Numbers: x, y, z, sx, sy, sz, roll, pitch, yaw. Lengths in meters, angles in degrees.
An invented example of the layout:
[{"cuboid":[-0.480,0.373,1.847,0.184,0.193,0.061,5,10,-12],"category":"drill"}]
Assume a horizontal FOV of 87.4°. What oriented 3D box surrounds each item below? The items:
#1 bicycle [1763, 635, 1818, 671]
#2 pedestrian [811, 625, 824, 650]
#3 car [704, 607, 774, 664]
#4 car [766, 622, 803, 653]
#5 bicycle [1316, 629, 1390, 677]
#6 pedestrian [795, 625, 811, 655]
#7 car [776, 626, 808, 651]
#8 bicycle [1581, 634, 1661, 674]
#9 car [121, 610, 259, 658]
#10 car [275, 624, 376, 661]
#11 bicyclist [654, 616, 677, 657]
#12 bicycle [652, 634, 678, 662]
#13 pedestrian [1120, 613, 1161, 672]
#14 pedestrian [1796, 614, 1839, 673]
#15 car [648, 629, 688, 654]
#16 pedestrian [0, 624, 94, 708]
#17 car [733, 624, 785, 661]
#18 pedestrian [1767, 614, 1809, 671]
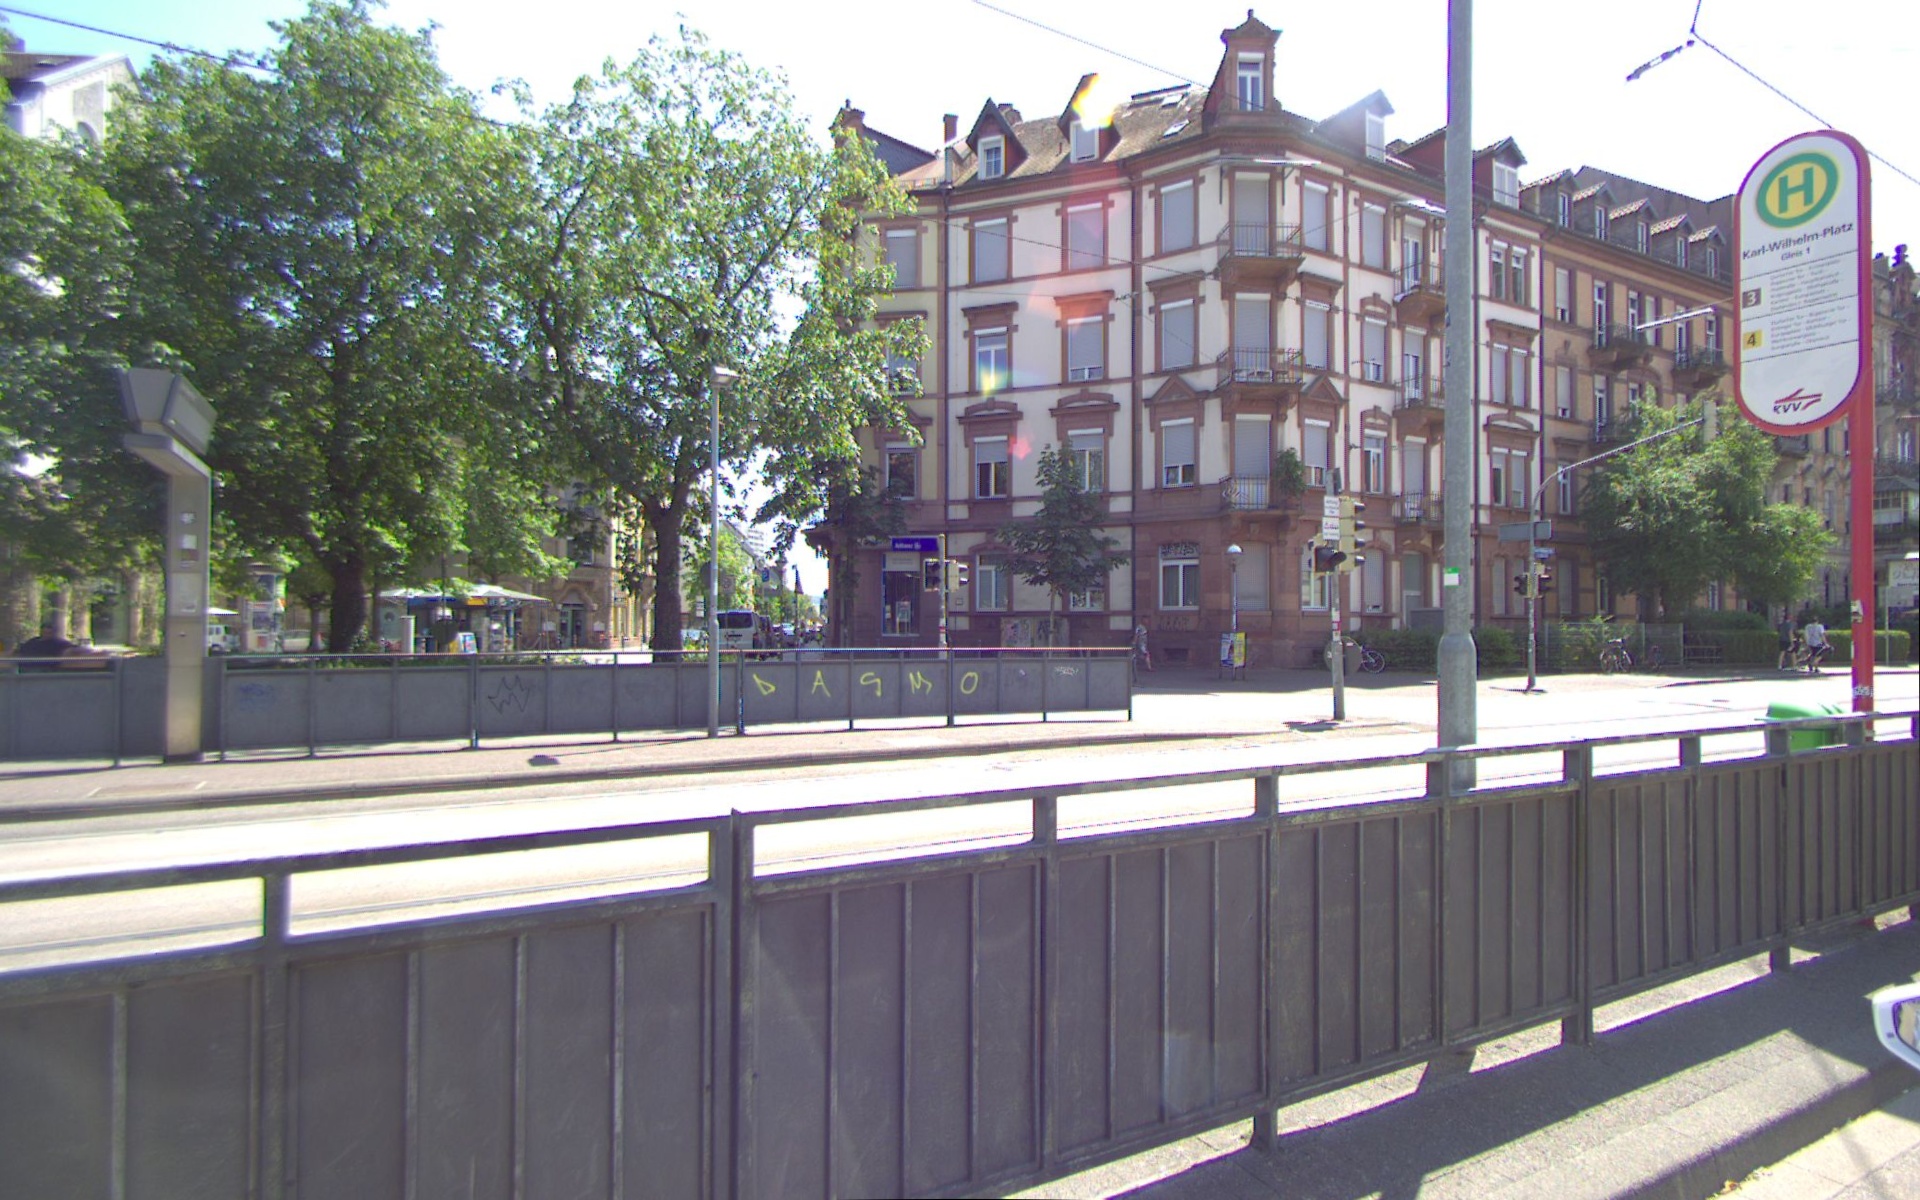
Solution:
[{"cuboid":[28.527,1.806,34.486,2.750,1.151,0.930,2,0,-39],"category":"bicycle"},{"cuboid":[-9.328,2.426,65.735,0.742,1.632,0.688,0,-1,-4],"category":"pedestrian"},{"cuboid":[-8.326,1.301,38.220,1.962,1.970,3.998,2,0,-4],"category":"car"},{"cuboid":[-10.369,2.179,59.457,1.684,1.617,3.998,2,0,-4],"category":"car"},{"cuboid":[11.667,1.560,29.865,1.923,1.312,0.564,2,0,11],"category":"bicycle"},{"cuboid":[-8.585,2.163,54.962,0.790,1.632,0.731,0,-1,-4],"category":"pedestrian"},{"cuboid":[-12.478,2.847,74.761,1.962,1.617,3.998,2,0,-4],"category":"car"},{"cuboid":[20.231,1.648,30.717,2.742,1.151,0.932,2,0,-31],"category":"bicycle"},{"cuboid":[-31.186,1.368,40.820,3.932,1.814,1.994,2,0,-14],"category":"car"},{"cuboid":[-32.072,2.161,50.895,3.920,1.730,1.761,2,0,-14],"category":"car"},{"cuboid":[-11.644,1.445,39.717,0.687,1.613,0.848,1,-1,-7],"category":"bicyclist"},{"cuboid":[-11.645,1.879,39.696,0.687,1.070,1.764,1,-1,-7],"category":"bicycle"},{"cuboid":[5.346,1.238,29.728,1.043,1.712,0.721,-1,-1,28],"category":"pedestrian"},{"cuboid":[27.789,1.395,32.552,0.863,1.847,0.812,0,1,-30],"category":"pedestrian"},{"cuboid":[-20.655,2.919,71.167,1.846,1.617,3.998,2,0,-4],"category":"car"},{"cuboid":[-14.659,1.045,16.109,0.925,1.261,0.860,2,0,-24],"category":"pedestrian"},{"cuboid":[-9.622,2.013,48.292,1.893,1.541,3.998,2,0,-4],"category":"car"},{"cuboid":[27.356,1.391,33.187,0.863,1.847,0.812,0,1,-30],"category":"pedestrian"}]
